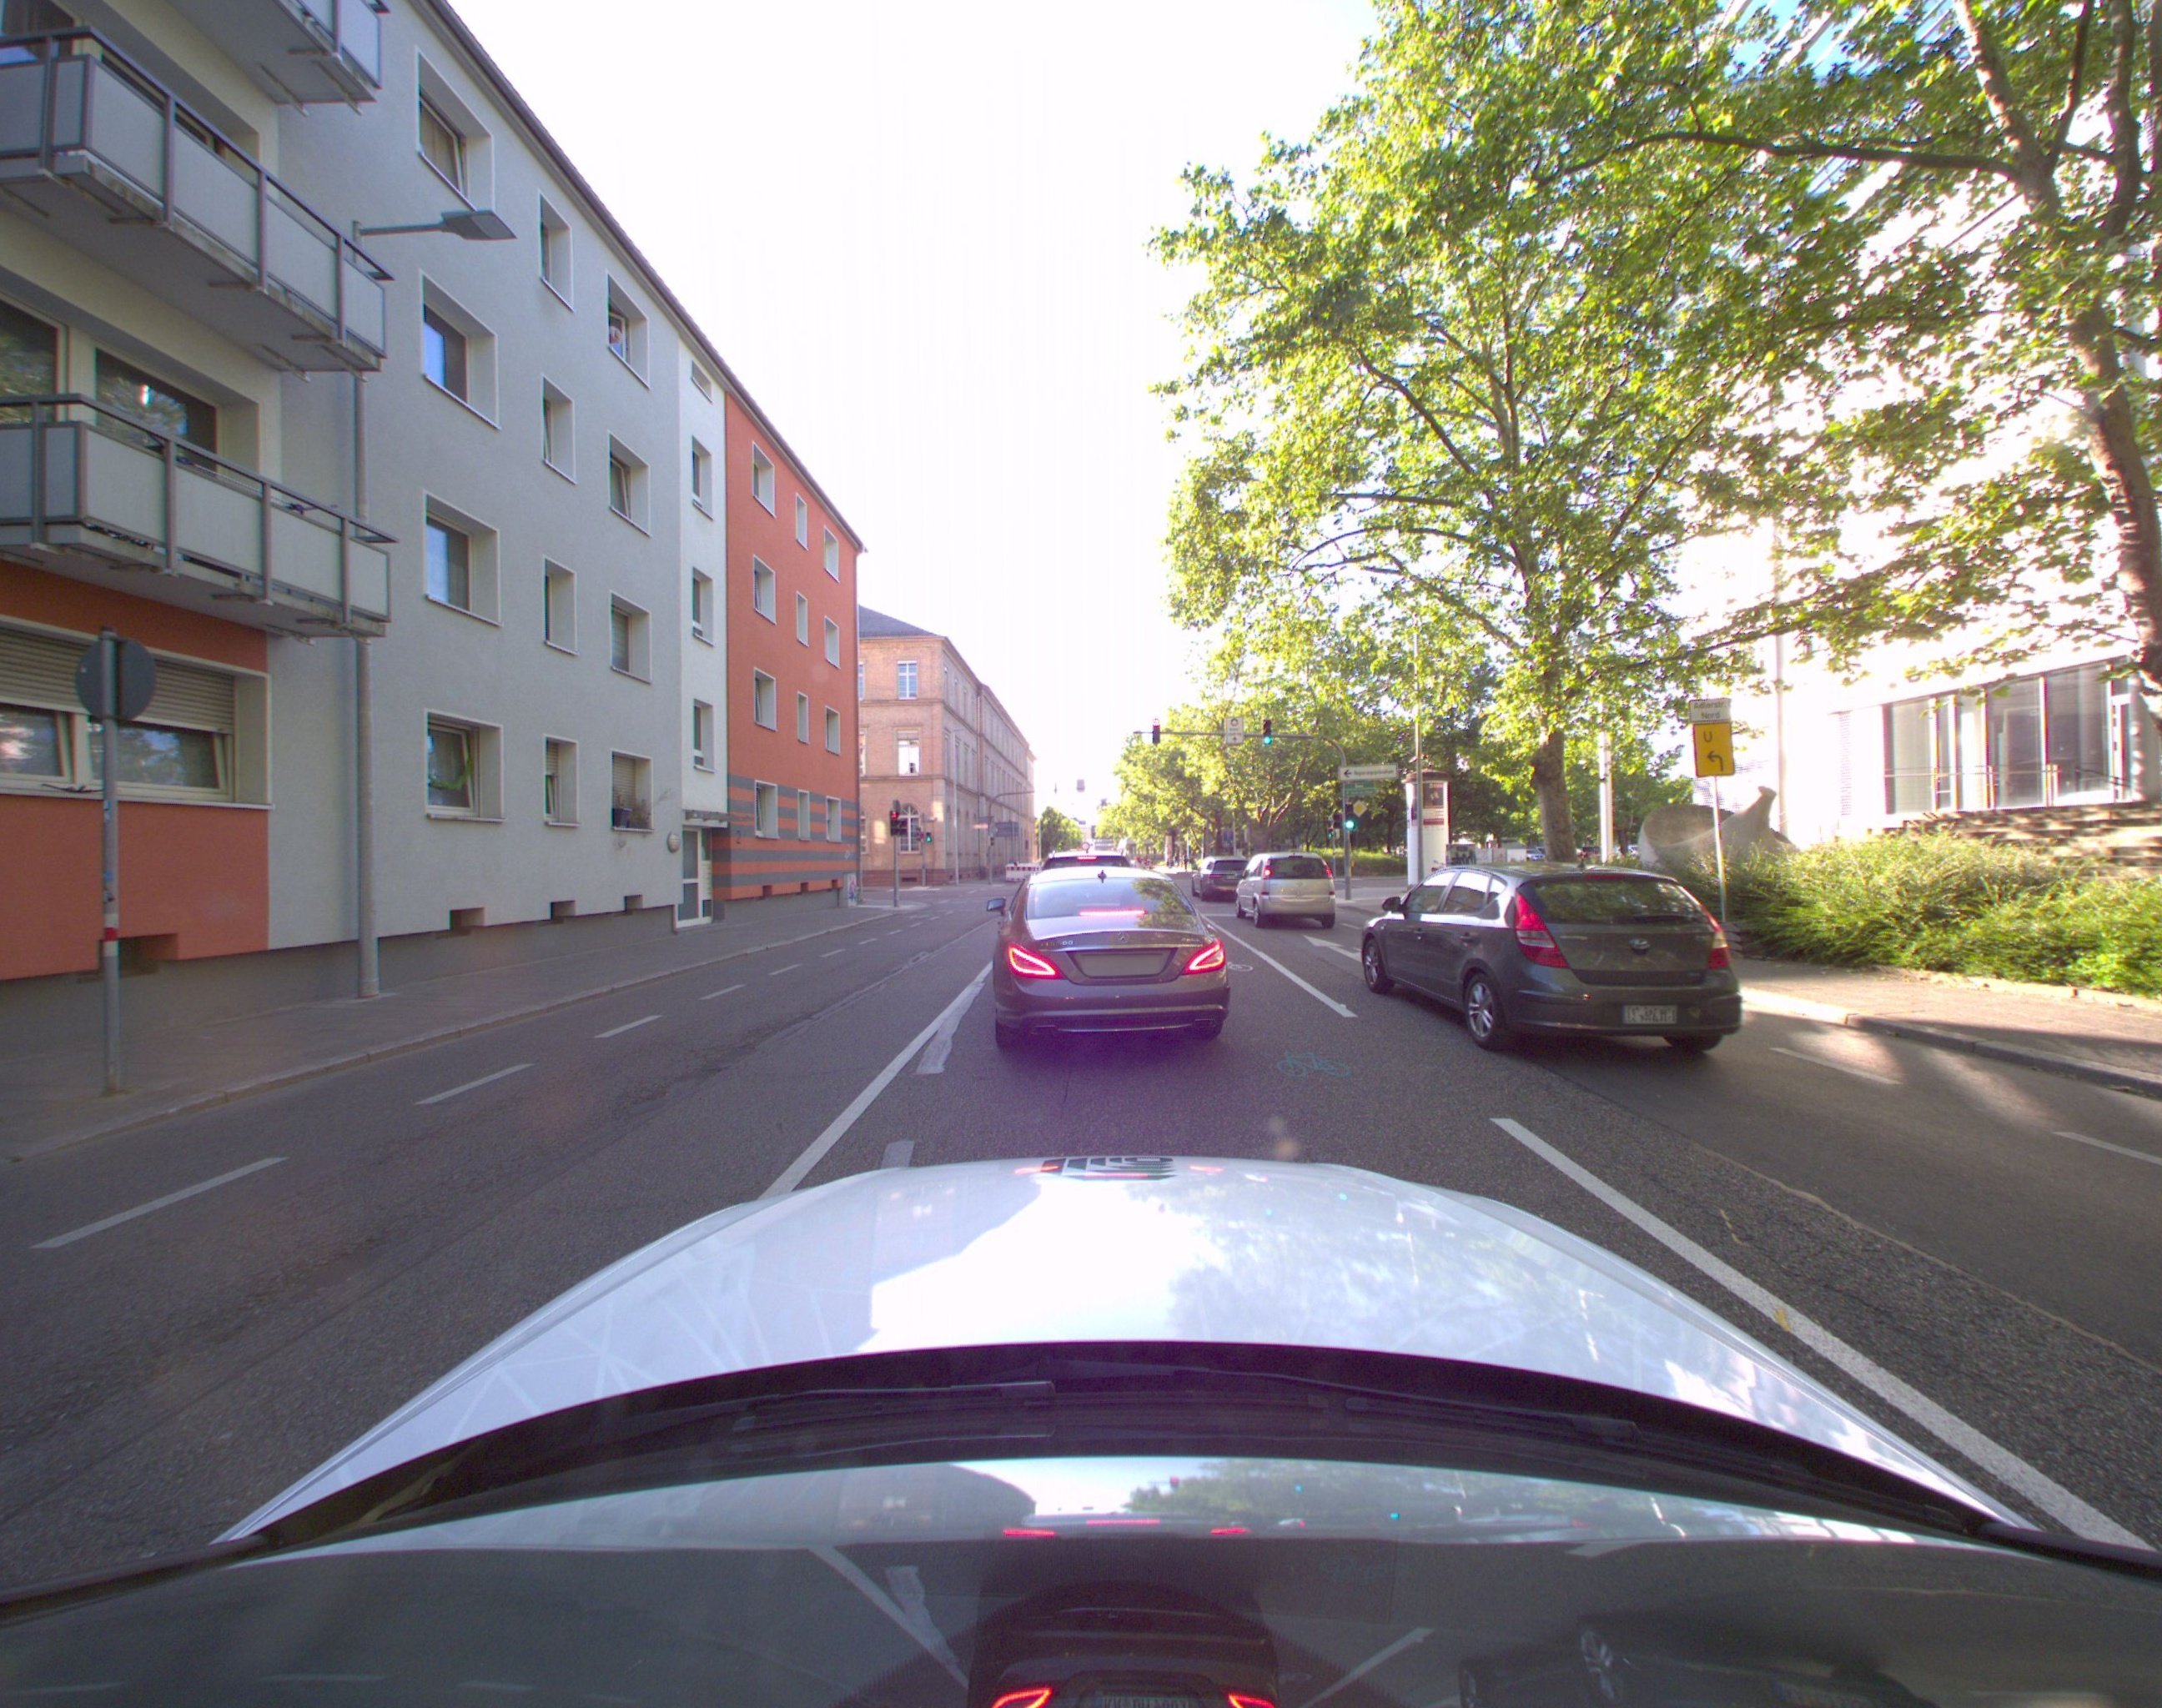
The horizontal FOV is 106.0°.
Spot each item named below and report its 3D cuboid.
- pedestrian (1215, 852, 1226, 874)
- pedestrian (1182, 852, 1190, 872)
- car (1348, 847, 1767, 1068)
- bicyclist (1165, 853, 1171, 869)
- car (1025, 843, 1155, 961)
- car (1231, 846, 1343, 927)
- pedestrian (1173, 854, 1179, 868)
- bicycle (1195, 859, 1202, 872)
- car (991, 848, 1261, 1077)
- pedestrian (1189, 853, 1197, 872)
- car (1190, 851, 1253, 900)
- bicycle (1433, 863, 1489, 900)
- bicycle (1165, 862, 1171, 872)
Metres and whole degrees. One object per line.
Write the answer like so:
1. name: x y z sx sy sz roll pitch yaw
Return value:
1. pedestrian: 9.902 0.642 57.774 0.634 1.545 0.909 0 -1 -2
2. pedestrian: 9.768 0.731 76.005 0.634 1.797 0.698 0 -1 -2
3. car: 3.975 0.725 7.680 1.698 1.519 4.002 -1 0 2
4. bicyclist: 11.199 0.847 104.886 0.593 2.039 0.566 0 -1 -3
5. car: 0.189 0.694 13.722 1.854 1.682 4.002 -1 0 2
6. car: 4.563 0.683 18.546 1.725 1.662 3.682 0 -1 2
7. pedestrian: 10.192 0.711 87.149 0.554 1.509 0.345 0 -1 -3
8. bicycle: 10.918 1.054 75.806 0.480 1.202 1.607 0 -1 2
9. car: 0.141 0.735 7.588 1.859 1.519 3.992 -1 0 -6
10. pedestrian: 10.435 0.750 75.942 0.634 1.760 0.698 0 -1 -2
11. car: 4.684 0.699 27.506 1.595 1.549 3.682 0 -1 2
12. bicycle: 10.998 0.778 23.548 1.895 1.028 0.635 0 -1 -36
13. bicycle: 11.210 1.612 104.913 0.590 1.263 1.804 0 -1 -3
